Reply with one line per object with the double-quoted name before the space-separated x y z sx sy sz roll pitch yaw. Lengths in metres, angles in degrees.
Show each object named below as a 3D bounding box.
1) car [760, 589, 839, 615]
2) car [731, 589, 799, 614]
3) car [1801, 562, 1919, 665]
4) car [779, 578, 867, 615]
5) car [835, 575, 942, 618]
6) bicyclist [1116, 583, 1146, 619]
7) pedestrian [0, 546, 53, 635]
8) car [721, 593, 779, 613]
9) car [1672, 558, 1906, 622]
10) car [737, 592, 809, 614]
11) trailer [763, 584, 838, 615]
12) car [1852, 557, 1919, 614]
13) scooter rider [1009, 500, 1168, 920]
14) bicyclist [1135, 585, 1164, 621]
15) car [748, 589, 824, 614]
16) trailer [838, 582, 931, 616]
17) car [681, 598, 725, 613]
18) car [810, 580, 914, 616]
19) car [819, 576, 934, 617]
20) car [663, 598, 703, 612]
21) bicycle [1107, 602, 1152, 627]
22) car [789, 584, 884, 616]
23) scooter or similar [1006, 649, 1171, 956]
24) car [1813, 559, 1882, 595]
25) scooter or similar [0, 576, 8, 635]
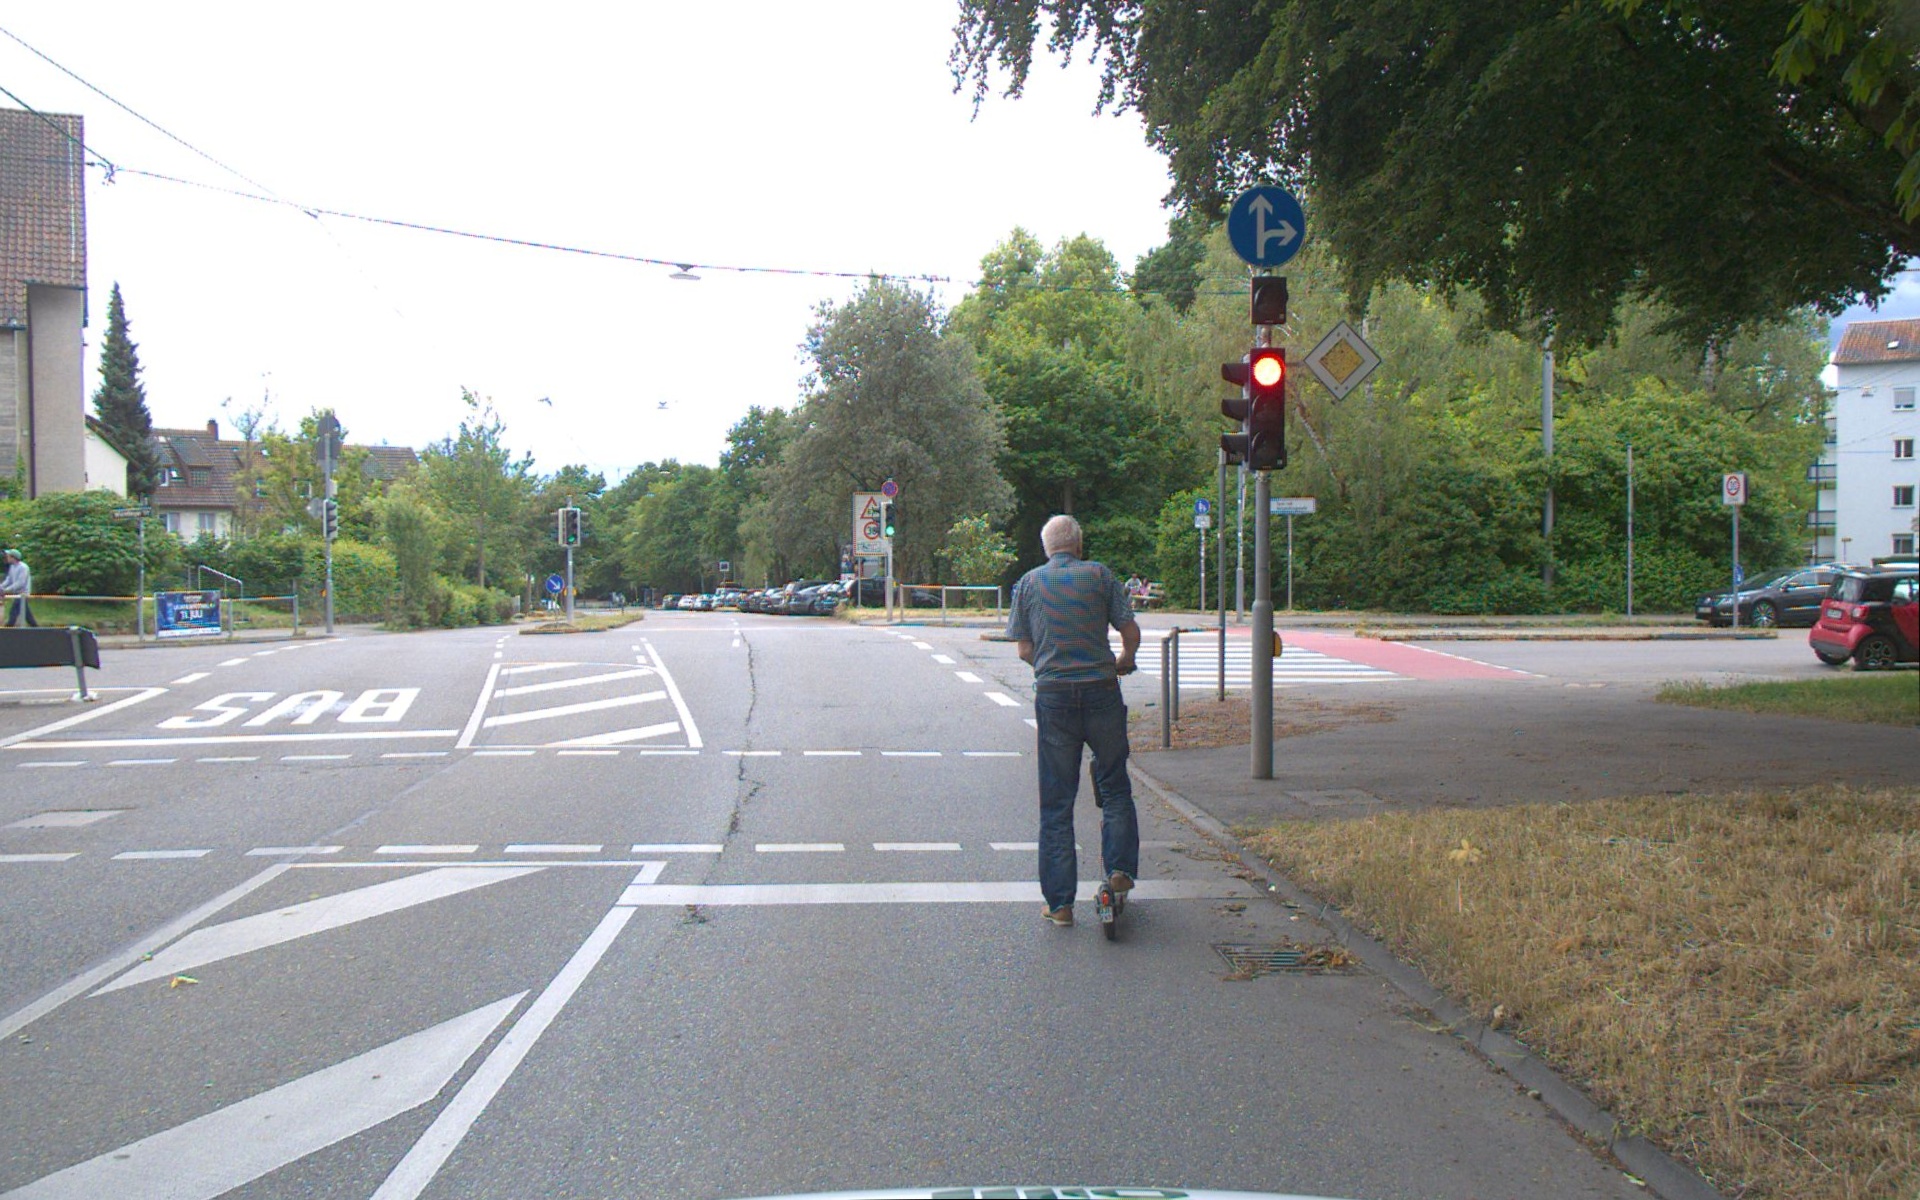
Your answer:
"car" -8.638 0.091 88.857 3.979 1.351 1.549 0 -1 -21
"car" -12.619 0.079 106.975 4.036 1.542 1.713 -1 0 -35
"car" 14.970 0.193 25.794 2.850 1.532 1.697 0 2 3
"car" -6.556 -0.161 79.280 3.929 1.755 1.670 0 -1 -22
"car" -2.597 -0.137 59.839 3.653 1.502 1.570 0 0 -15
"bicyclist" 5.776 0.016 55.949 0.630 1.182 0.798 4 3 43
"pedestrian" -18.012 -0.172 31.721 0.674 1.682 0.830 1 -1 27
"car" -15.493 0.216 121.902 3.918 1.430 1.741 0 -1 -27
"car" 19.783 -0.255 39.556 4.694 1.464 2.036 0 1 -8
"car" -11.787 0.179 104.291 4.259 1.364 1.719 0 -1 -26
"trailer" -8.353 -0.014 86.637 3.639 1.562 1.634 0 0 -24
"car" 26.146 -0.411 45.693 1.763 1.513 3.673 0 0 13
"scooter rider" 0.579 0.443 7.544 0.667 1.760 1.197 0 2 4
"bicyclist" 6.559 0.107 57.324 0.510 1.208 0.961 -2 -2 44
"car" -10.419 0.095 99.021 4.292 1.471 1.620 0 0 -27
"trailer" -2.986 -0.038 65.320 3.354 1.289 1.606 0 -1 -22
"car" -24.649 0.529 158.491 3.855 1.332 1.721 0 -1 -37
"car" -4.152 -0.108 70.061 4.159 1.490 1.625 0 0 -21
"car" -3.149 -0.142 62.375 4.079 1.502 1.565 0 -1 -23
"car" -29.487 0.574 176.163 3.847 1.454 1.724 0 -1 -32
"bicycle" 5.750 0.491 55.953 0.630 0.771 1.670 4 3 42
"car" -5.745 -0.010 76.716 4.103 1.431 1.686 0 -1 -23
"scooter or similar" 0.573 0.846 7.475 0.667 1.159 1.461 0 2 4
"car" 40.307 -1.023 75.206 1.888 1.572 4.067 0 0 15
"scooter or similar" -18.421 0.094 30.917 0.598 1.114 0.888 1 -1 27
